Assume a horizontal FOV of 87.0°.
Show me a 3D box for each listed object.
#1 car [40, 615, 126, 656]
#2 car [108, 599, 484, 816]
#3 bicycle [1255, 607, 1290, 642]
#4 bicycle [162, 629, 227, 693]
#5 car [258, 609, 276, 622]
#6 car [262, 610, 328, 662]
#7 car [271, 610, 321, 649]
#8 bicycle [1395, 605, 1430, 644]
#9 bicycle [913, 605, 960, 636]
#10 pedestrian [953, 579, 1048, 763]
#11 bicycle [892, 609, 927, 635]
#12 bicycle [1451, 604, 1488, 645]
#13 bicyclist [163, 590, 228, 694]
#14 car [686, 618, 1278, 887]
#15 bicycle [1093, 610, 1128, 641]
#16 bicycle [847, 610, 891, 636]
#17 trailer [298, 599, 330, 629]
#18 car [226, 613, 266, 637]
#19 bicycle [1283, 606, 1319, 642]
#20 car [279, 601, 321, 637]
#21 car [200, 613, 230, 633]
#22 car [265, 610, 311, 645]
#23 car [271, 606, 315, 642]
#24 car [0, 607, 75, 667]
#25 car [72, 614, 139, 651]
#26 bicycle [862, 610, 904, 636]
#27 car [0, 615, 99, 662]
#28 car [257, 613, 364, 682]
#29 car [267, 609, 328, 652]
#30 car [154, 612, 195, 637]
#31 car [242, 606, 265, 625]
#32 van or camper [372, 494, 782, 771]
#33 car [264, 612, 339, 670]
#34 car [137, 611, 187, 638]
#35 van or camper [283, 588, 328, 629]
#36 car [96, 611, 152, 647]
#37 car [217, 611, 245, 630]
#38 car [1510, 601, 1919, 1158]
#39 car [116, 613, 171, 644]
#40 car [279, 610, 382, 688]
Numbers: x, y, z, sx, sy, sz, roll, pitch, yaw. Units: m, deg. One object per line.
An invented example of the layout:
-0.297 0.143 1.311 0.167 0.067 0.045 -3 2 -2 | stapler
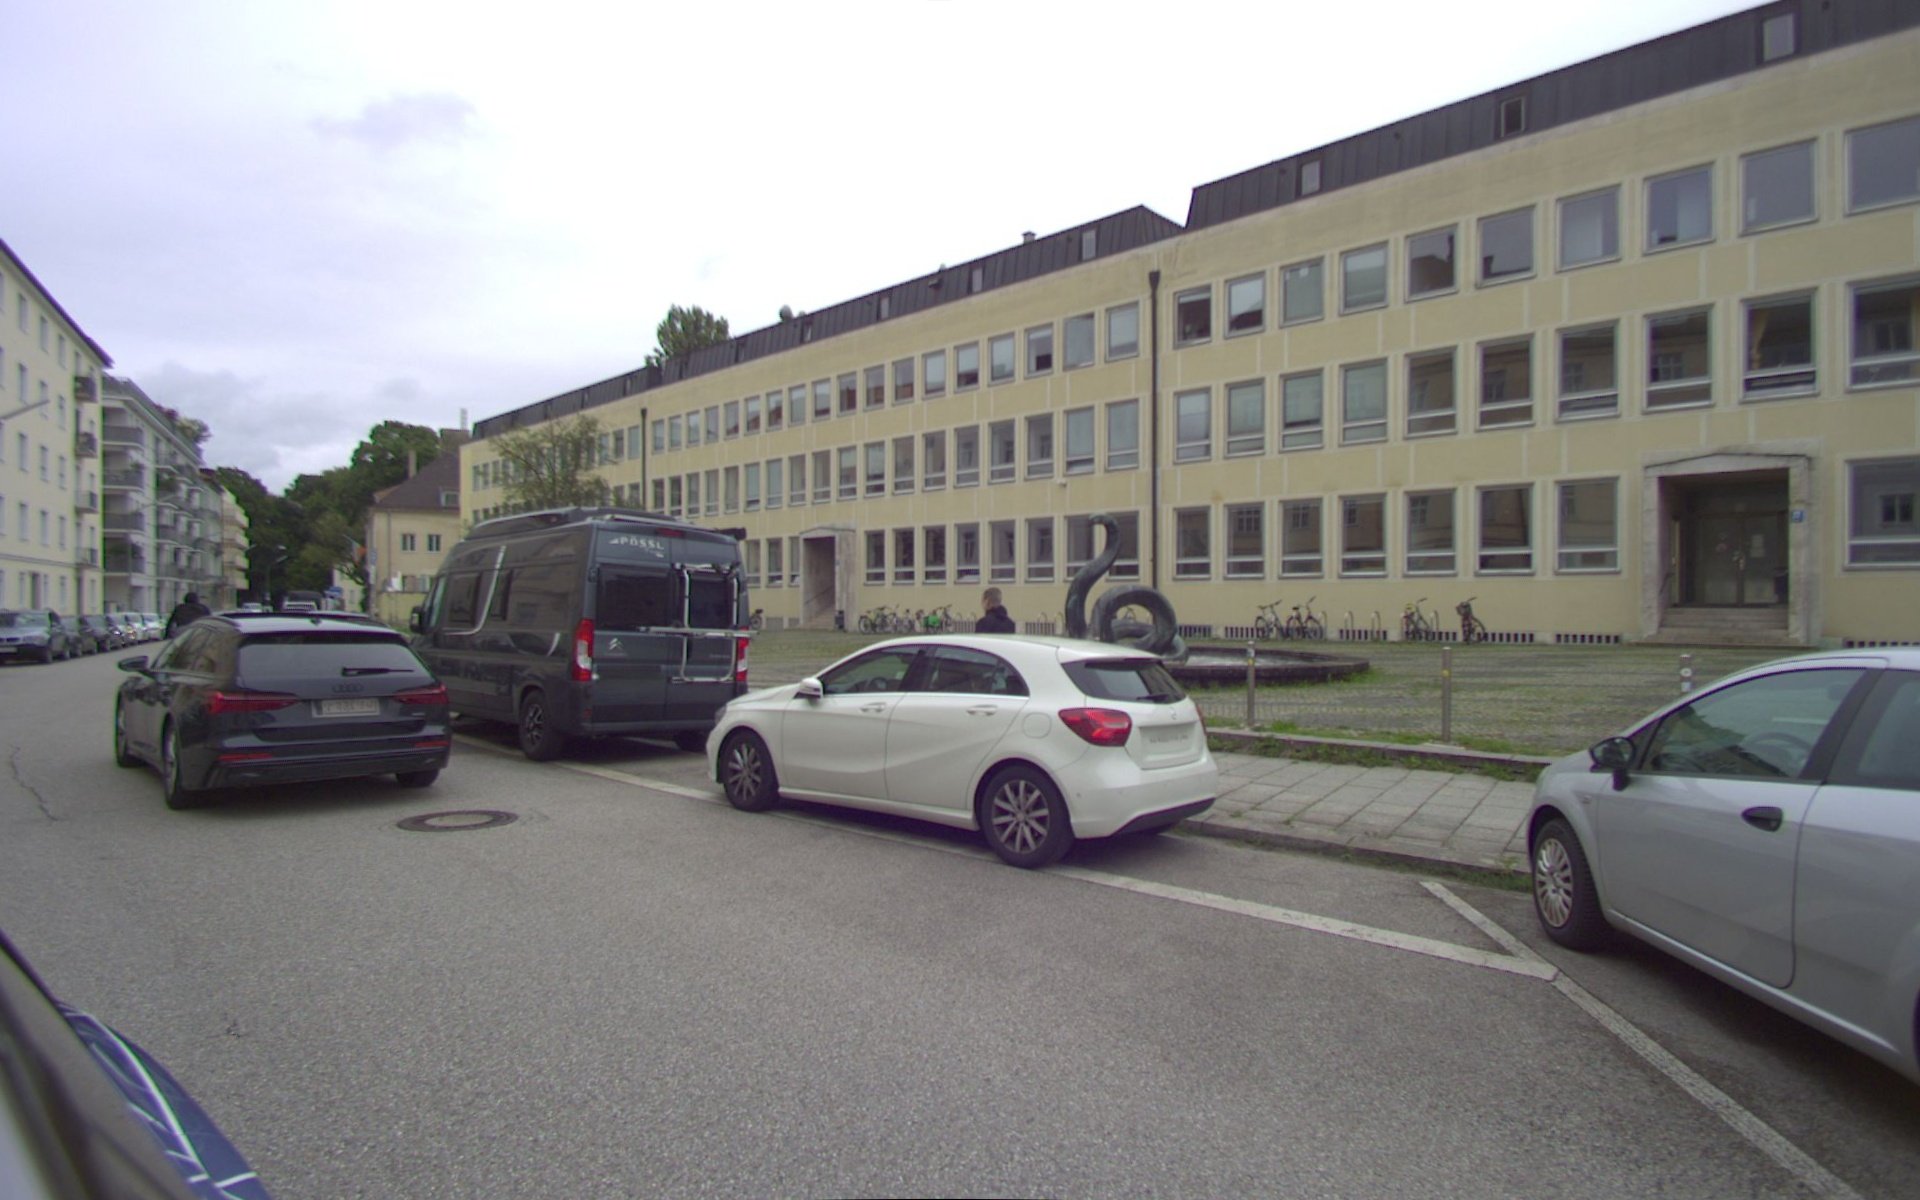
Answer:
-33.770 1.322 39.103 1.850 1.461 4.691 -1 0 -33 | car
-6.096 0.741 9.007 1.897 1.423 4.707 3 -2 -44 | car
9.072 0.700 29.378 0.414 0.952 1.455 -1 1 41 | bicycle
-13.645 1.066 18.025 1.937 1.078 0.579 -1 -3 44 | bicycle
-87.244 1.938 127.434 1.742 1.629 4.275 0 -1 -32 | car
-20.909 1.096 31.766 1.609 1.506 4.286 2 -2 -34 | car
-27.233 1.202 41.466 1.609 1.506 4.111 3 -2 -34 | car
11.843 0.624 26.476 0.414 0.952 1.455 -1 1 41 | bicycle
-0.889 0.765 38.564 0.702 1.104 1.826 -1 1 41 | bicycle
0.447 0.730 10.912 0.711 1.880 0.836 -1 0 29 | pedestrian
-1.970 0.864 39.554 1.389 0.952 0.415 -2 0 -38 | bicycle
12.818 0.597 25.436 0.414 0.952 1.689 -1 1 41 | bicycle
-13.650 0.749 18.073 0.815 1.785 0.736 -1 -4 44 | bicyclist
0.008 0.912 7.750 4.211 1.462 1.974 0 -3 39 | car
4.950 0.815 33.237 0.414 0.952 1.392 -1 1 41 | bicycle
-3.643 0.910 40.802 0.414 0.952 1.929 -1 1 45 | bicycle
-56.790 1.195 89.010 1.948 2.490 4.591 3 -2 -28 | trailer
-48.482 1.685 68.751 1.966 1.541 4.011 -1 0 -32 | car
9.734 0.683 28.867 0.414 0.952 1.455 -1 1 41 | bicycle
-38.407 1.104 58.841 1.889 1.975 4.974 2 -2 -34 | car
-59.264 1.829 80.535 1.747 1.487 4.229 0 -1 -34 | car
-30.069 1.207 45.343 1.608 1.506 3.830 1 -1 -32 | car
-32.869 1.160 49.924 1.691 1.702 4.152 2 -2 -32 | car
-28.240 1.066 30.455 1.821 1.676 4.510 -1 0 -34 | car
-36.473 1.353 43.283 1.701 1.461 4.199 -1 0 -34 | car
-3.053 0.911 40.323 0.414 0.952 1.836 -1 1 45 | bicycle
-30.884 1.253 34.455 1.802 1.461 4.095 -1 0 -32 | car
-15.398 1.067 23.896 1.751 1.477 4.476 3 -2 -37 | car
-24.221 1.088 36.942 1.717 1.433 4.305 -1 0 -35 | car
-47.328 1.472 61.050 1.632 1.440 3.766 -1 0 -33 | car
-78.653 1.704 112.717 1.828 2.046 4.797 -1 0 -31 | car
-4.960 0.358 12.429 6.087 2.601 2.271 -1 -2 44 | van or camper
-18.488 1.121 28.385 1.609 1.506 3.613 3 -2 -34 | car
-44.657 1.347 56.692 1.749 1.440 4.628 -1 0 -33 | car
-45.075 0.616 69.824 2.261 2.671 5.578 2 -2 -30 | van or camper
-39.369 1.339 47.716 1.628 1.555 4.004 -1 0 -34 | car
-64.839 1.803 90.028 1.767 1.493 4.616 -2 0 -33 | car
3.579 0.808 3.474 1.694 1.519 3.800 1 -2 8 | car
-41.710 1.433 51.779 1.701 1.440 4.305 -1 0 -33 | car
-13.070 0.981 20.948 1.499 1.477 2.893 3 -2 -37 | car
